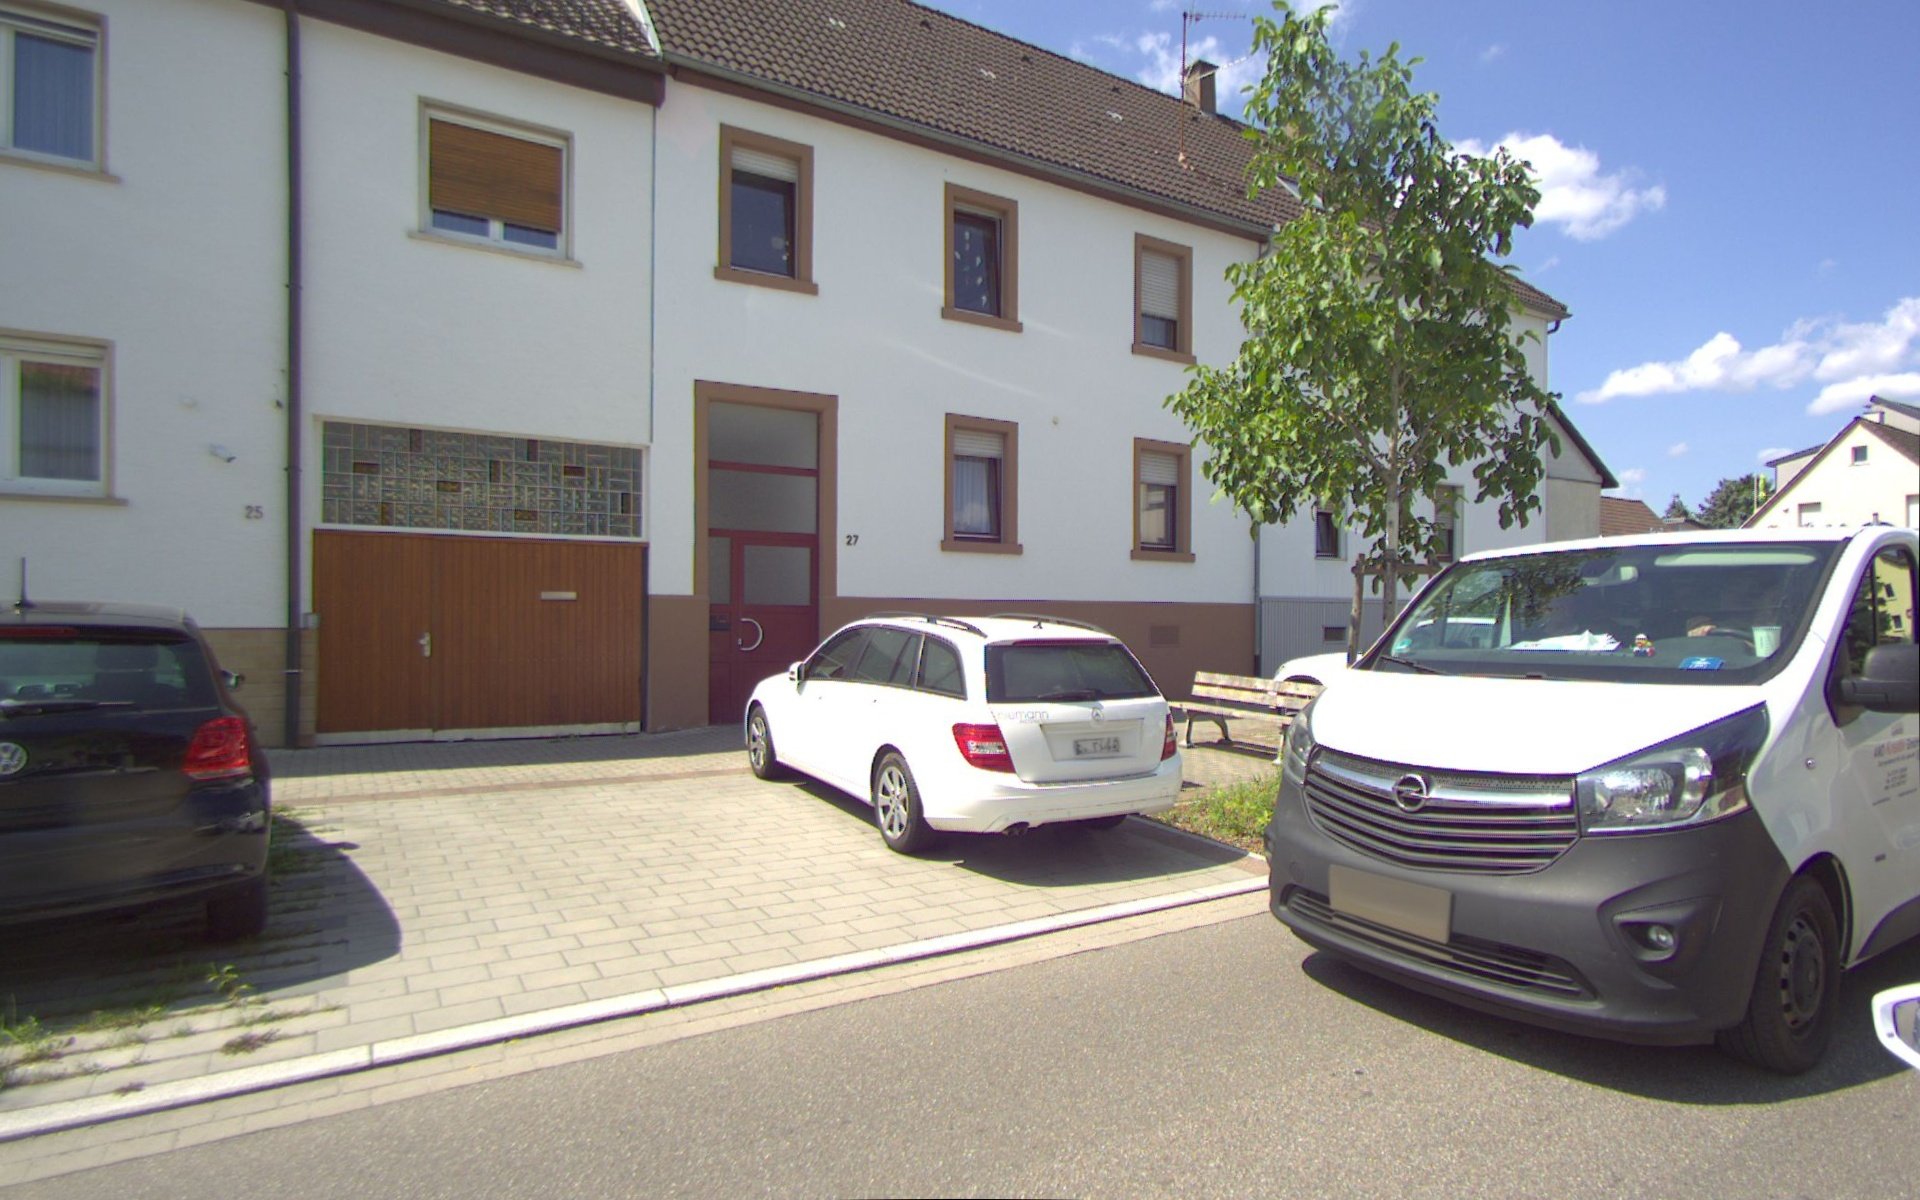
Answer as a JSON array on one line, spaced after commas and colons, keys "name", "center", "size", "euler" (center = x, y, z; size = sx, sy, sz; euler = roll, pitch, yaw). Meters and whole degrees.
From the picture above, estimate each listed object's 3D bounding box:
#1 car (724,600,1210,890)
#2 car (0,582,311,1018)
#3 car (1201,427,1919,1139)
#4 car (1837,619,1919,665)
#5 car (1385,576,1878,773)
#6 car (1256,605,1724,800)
[{"name": "car", "center": [-0.292, 0.790, 7.593], "size": [1.753, 1.487, 4.275], "euler": [2, 0, -30]}, {"name": "car", "center": [-4.480, 0.674, 4.996], "size": [1.645, 1.487, 3.847], "euler": [2, 0, -40]}, {"name": "car", "center": [3.652, 0.587, 4.979], "size": [4.846, 1.975, 2.011], "euler": [2, -2, -33]}, {"name": "car", "center": [33.515, 1.497, 35.420], "size": [1.769, 1.490, 3.511], "euler": [1, 1, -27]}, {"name": "car", "center": [7.950, 0.724, 12.442], "size": [1.916, 1.949, 4.674], "euler": [2, 0, -32]}, {"name": "car", "center": [5.509, 0.929, 10.972], "size": [1.756, 1.589, 4.155], "euler": [2, 0, -35]}]
